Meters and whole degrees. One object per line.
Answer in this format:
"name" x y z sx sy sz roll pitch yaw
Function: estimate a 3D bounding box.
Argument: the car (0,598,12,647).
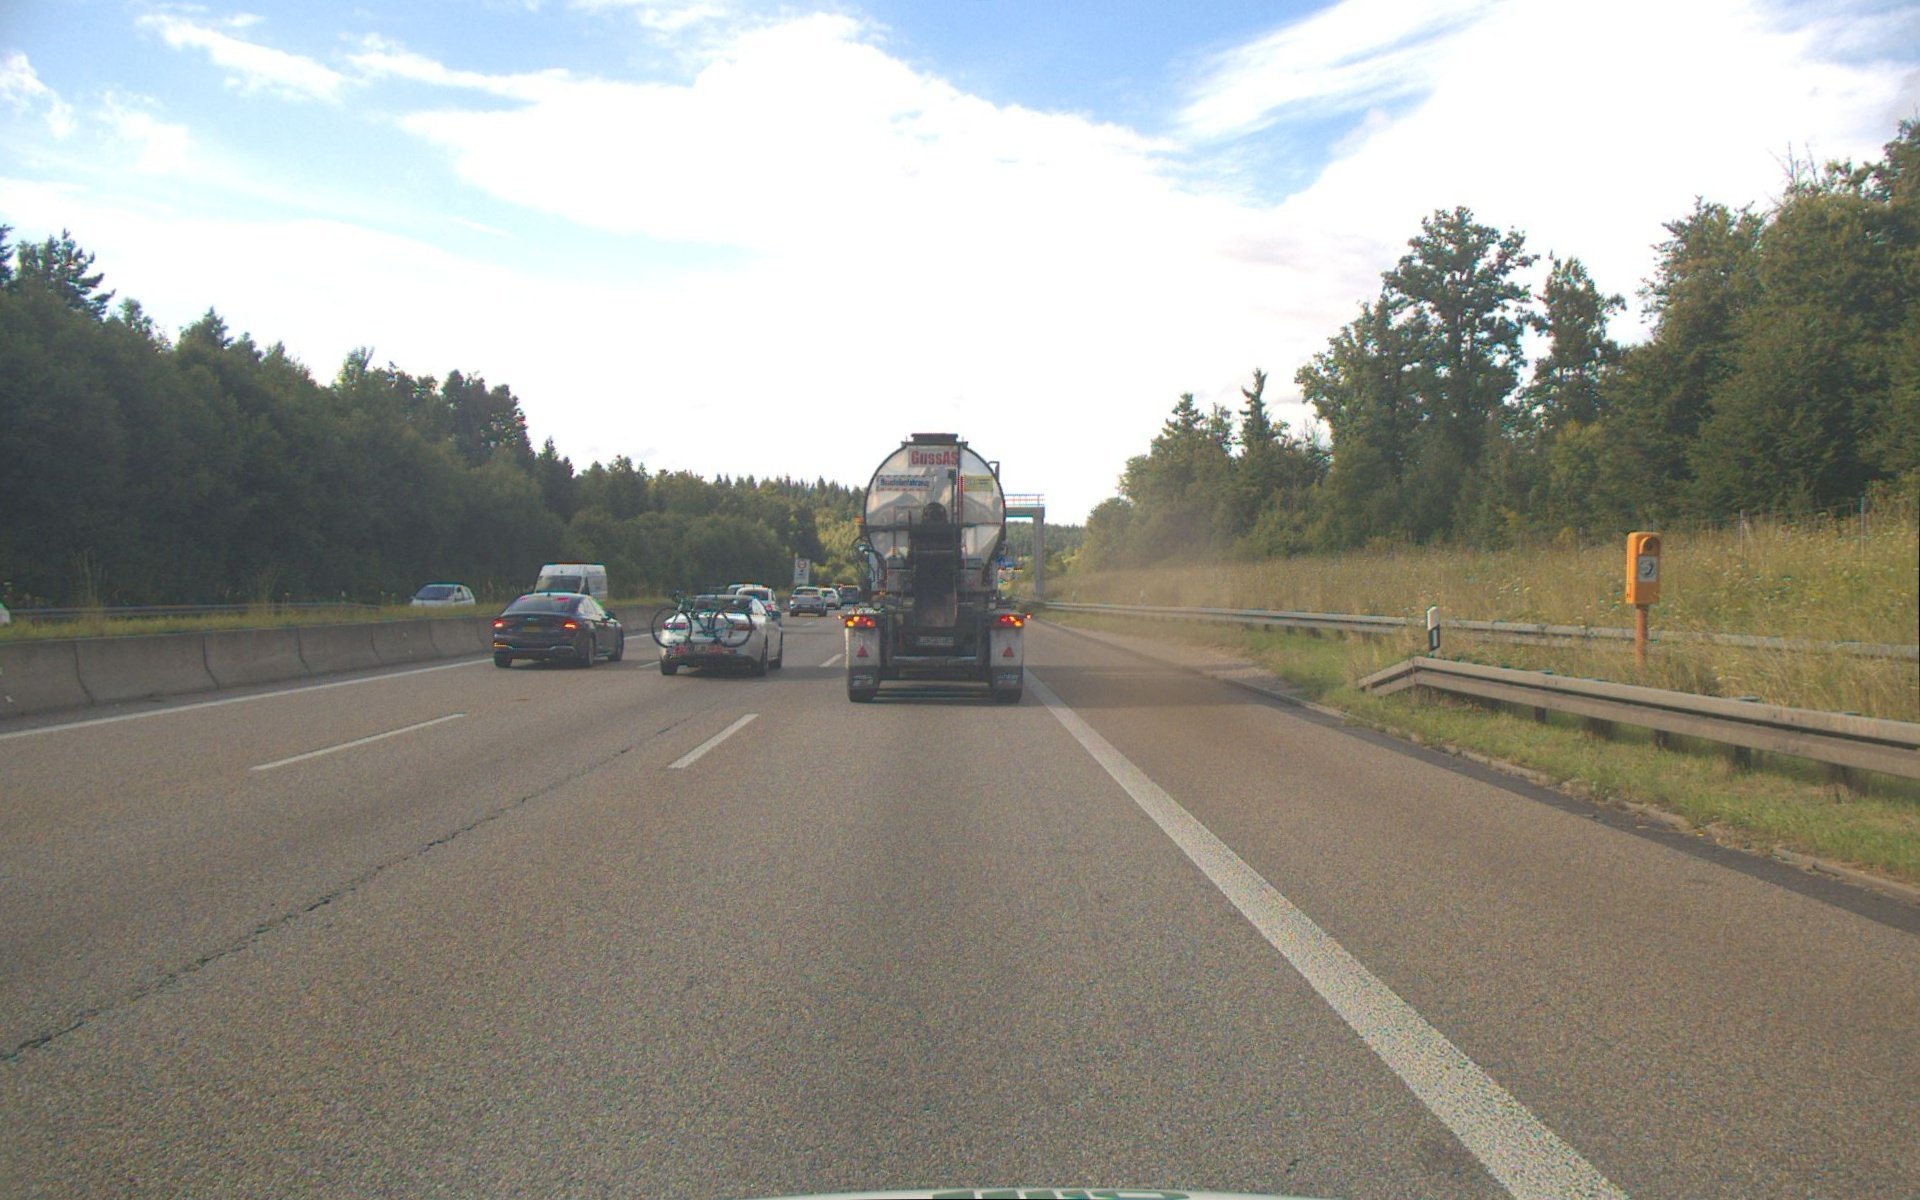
"car" -22.620 0.519 36.540 1.559 1.113 3.172 0 0 -1

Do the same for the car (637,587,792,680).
"car" -4.318 0.535 30.042 2.018 1.525 5.735 0 0 -1

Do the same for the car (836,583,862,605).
"car" -8.864 -0.486 132.137 1.903 1.613 4.206 1 1 -1

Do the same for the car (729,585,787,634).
"car" -6.797 0.310 55.943 1.585 1.571 3.519 1 0 -1

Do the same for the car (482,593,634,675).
"car" -7.717 0.599 32.222 1.818 1.456 4.840 0 0 -1

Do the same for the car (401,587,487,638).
"car" -19.547 0.444 62.818 1.885 1.837 4.492 0 0 -1

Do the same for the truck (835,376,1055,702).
"truck" -0.235 -0.834 27.148 2.853 4.230 11.268 0 0 0

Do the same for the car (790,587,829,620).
"car" -8.000 0.166 88.079 1.770 1.613 4.206 1 1 -1

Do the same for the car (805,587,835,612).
"car" -9.560 -0.052 113.183 1.770 1.613 4.206 1 1 -1

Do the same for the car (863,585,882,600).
"car" -9.331 -0.809 176.171 1.903 1.482 4.206 1 1 -1

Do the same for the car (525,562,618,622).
"car" -16.080 -0.328 68.814 2.526 2.387 5.828 0 0 -1
